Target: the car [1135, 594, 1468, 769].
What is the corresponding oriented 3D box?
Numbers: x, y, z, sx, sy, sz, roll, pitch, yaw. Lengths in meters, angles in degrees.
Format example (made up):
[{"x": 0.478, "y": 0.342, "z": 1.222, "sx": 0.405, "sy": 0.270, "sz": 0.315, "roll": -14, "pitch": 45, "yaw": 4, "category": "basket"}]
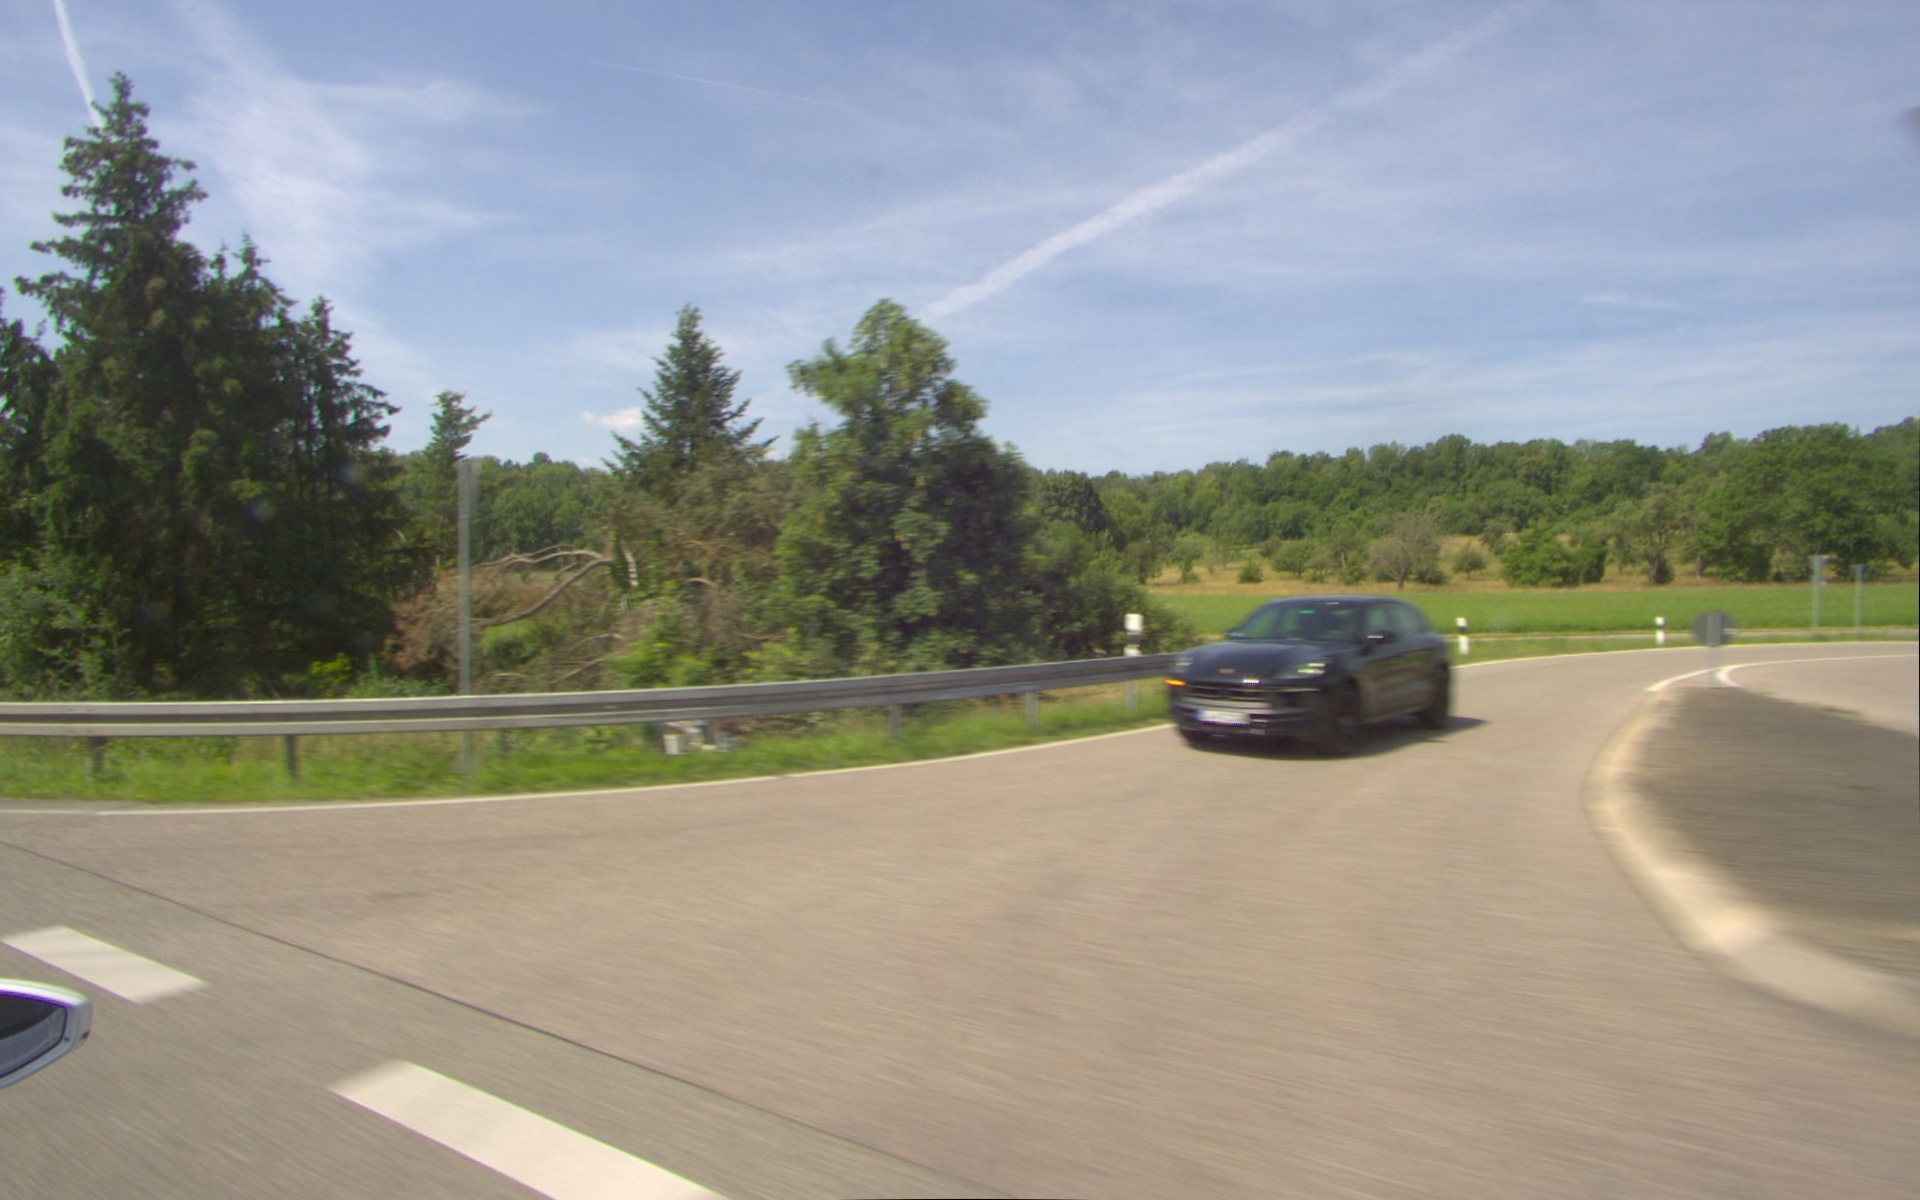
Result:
[{"x": 4.089, "y": 0.766, "z": 11.530, "sx": 2.042, "sy": 1.610, "sz": 4.390, "roll": -1, "pitch": 0, "yaw": 43, "category": "car"}]
